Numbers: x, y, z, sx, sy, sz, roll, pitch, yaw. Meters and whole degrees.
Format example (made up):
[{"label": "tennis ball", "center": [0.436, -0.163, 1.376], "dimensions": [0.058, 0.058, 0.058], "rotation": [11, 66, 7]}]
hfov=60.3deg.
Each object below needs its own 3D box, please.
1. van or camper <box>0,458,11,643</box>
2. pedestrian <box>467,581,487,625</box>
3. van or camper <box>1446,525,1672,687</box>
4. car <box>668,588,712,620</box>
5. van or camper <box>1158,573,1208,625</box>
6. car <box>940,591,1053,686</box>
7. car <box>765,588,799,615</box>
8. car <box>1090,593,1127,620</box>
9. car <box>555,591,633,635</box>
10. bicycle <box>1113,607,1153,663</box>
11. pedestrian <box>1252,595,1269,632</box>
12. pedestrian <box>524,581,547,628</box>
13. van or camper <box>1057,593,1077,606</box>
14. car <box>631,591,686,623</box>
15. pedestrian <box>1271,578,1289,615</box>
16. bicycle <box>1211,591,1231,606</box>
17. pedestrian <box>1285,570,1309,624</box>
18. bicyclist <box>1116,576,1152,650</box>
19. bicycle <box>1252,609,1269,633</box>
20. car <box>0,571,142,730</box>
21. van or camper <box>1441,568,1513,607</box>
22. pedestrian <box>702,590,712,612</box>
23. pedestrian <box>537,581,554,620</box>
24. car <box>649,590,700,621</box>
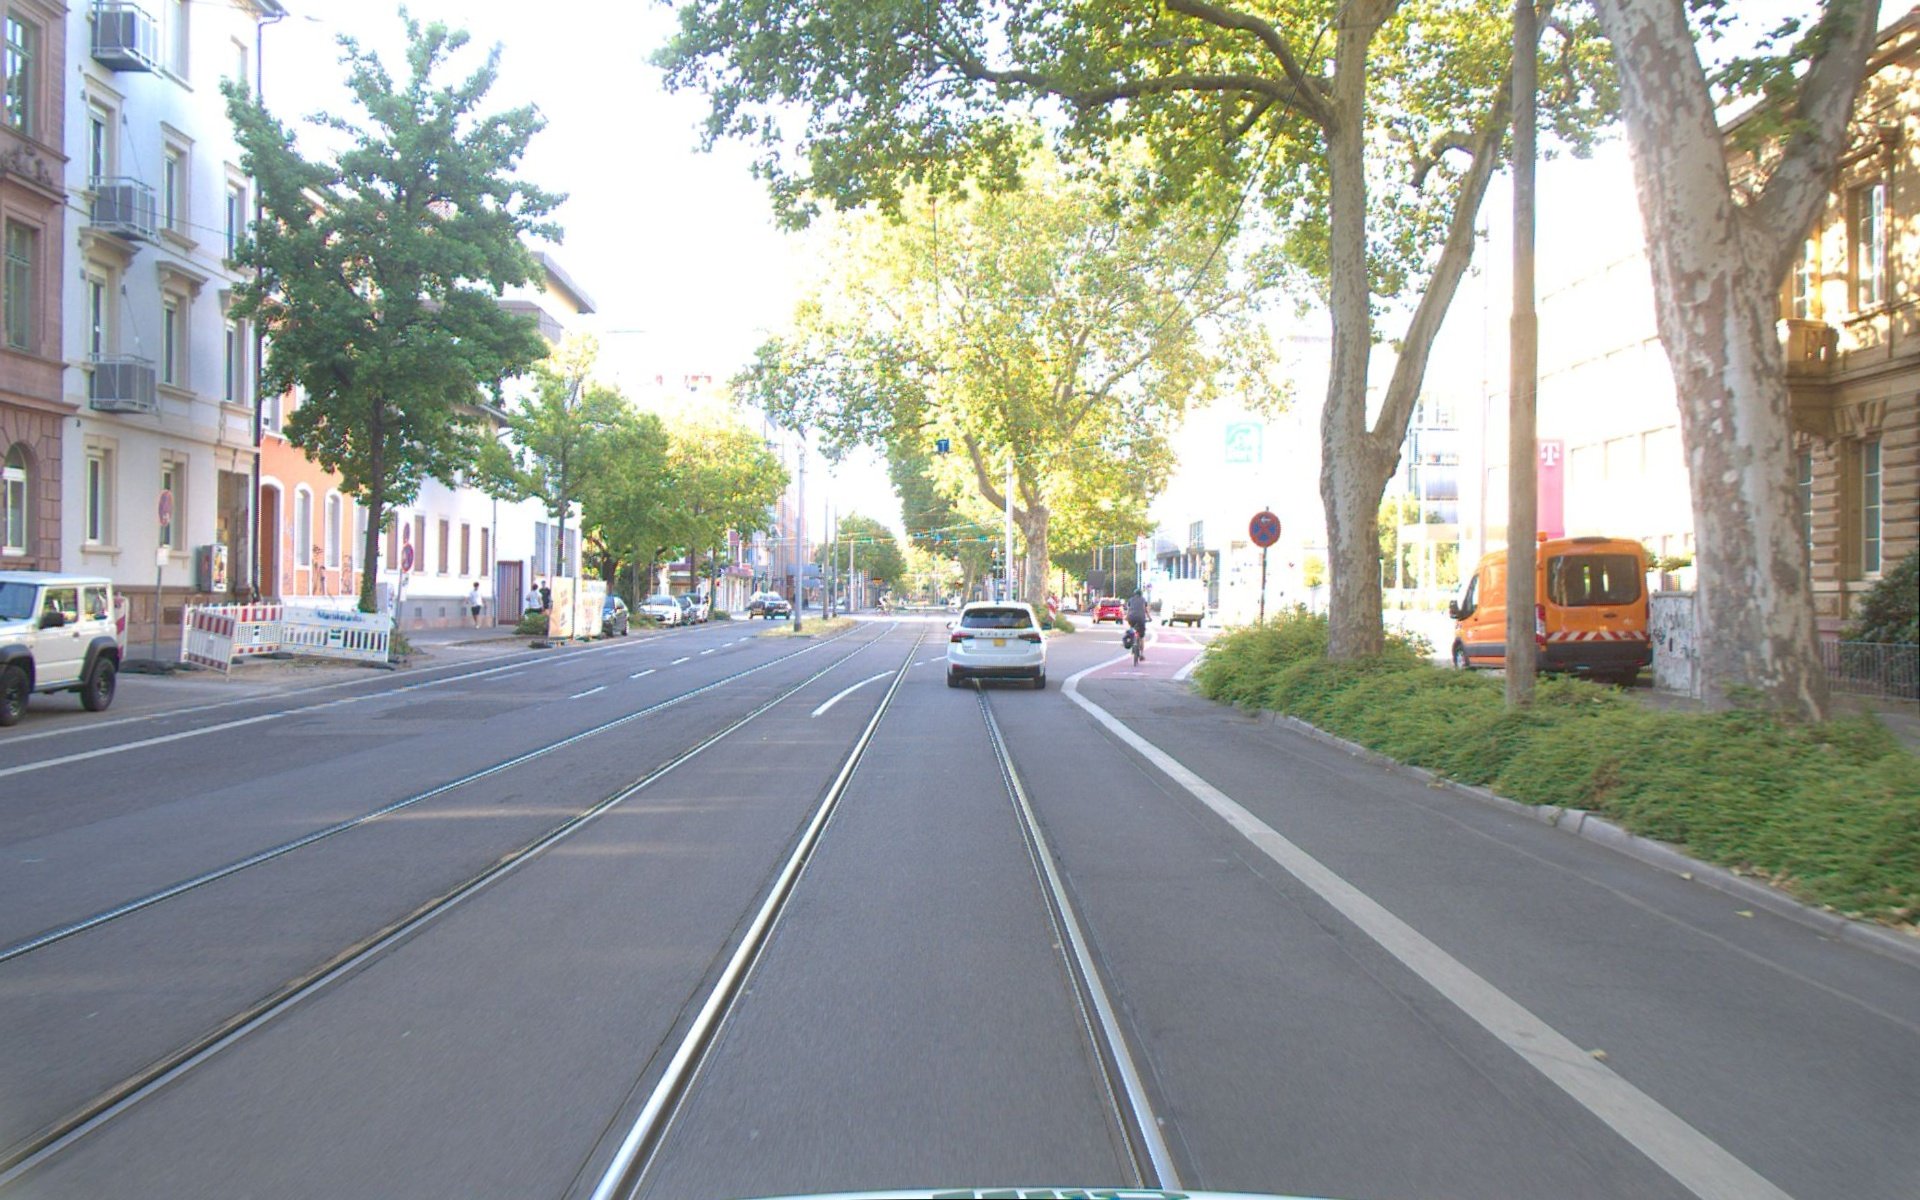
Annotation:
[{"label": "van or camper", "center": [-11.322, -0.051, 13.893], "dimensions": [2.370, 2.998, 7.250], "rotation": [4, 0, 0]}, {"label": "pedestrian", "center": [-17.370, 0.110, 59.482], "dimensions": [0.582, 1.598, 0.639], "rotation": [0, 0, -3]}, {"label": "van or camper", "center": [10.480, 0.082, 29.482], "dimensions": [1.994, 2.604, 5.773], "rotation": [0, 0, 1]}, {"label": "car", "center": [-14.694, 0.217, 90.227], "dimensions": [1.954, 1.719, 4.175], "rotation": [0, 0, -3]}, {"label": "van or camper", "center": [12.818, -0.050, 95.404], "dimensions": [2.222, 2.781, 6.349], "rotation": [3, 0, 3]}, {"label": "car", "center": [0.707, 0.623, 29.189], "dimensions": [1.764, 1.527, 3.983], "rotation": [1, 0, 4]}, {"label": "car", "center": [-11.497, 0.097, 107.102], "dimensions": [1.954, 1.719, 4.307], "rotation": [0, 0, -3]}, {"label": "car", "center": [8.766, 0.375, 97.790], "dimensions": [1.802, 1.515, 3.716], "rotation": [0, 0, -1]}, {"label": "car", "center": [-13.286, 0.433, 60.240], "dimensions": [1.953, 1.540, 4.723], "rotation": [0, 0, -2]}, {"label": "bicycle", "center": [4.108, 0.802, 39.138], "dimensions": [0.728, 1.245, 2.158], "rotation": [2, 1, 10]}, {"label": "pedestrian", "center": [13.648, 0.602, 75.163], "dimensions": [0.655, 1.647, 1.103], "rotation": [-2, 0, 9]}, {"label": "pedestrian", "center": [-15.206, 0.169, 59.286], "dimensions": [0.622, 1.649, 0.731], "rotation": [1, 0, -2]}, {"label": "van or camper", "center": [14.406, -0.062, 223.200], "dimensions": [2.103, 1.781, 4.428], "rotation": [-1, 0, -4]}, {"label": "car", "center": [-14.083, 0.307, 77.435], "dimensions": [1.954, 1.496, 4.403], "rotation": [0, 0, -3]}, {"label": "pedestrian", "center": [15.577, -0.177, 80.580], "dimensions": [0.769, 1.779, 0.772], "rotation": [0, 0, 4]}, {"label": "bicycle", "center": [26.049, -0.122, 165.097], "dimensions": [1.895, 1.468, 0.575], "rotation": [0, 0, -2]}, {"label": "pedestrian", "center": [10.763, -0.103, 52.811], "dimensions": [0.681, 1.713, 0.931], "rotation": [0, 0, 16]}, {"label": "bicyclist", "center": [4.099, 0.309, 38.991], "dimensions": [0.727, 1.698, 0.745], "rotation": [2, 0, 11]}, {"label": "bicycle", "center": [13.655, 0.961, 75.158], "dimensions": [0.660, 1.050, 1.902], "rotation": [-2, 0, 9]}, {"label": "car", "center": [-11.616, 0.547, 20.279], "dimensions": [1.598, 1.735, 3.368], "rotation": [3, 0, -4]}, {"label": "van or camper", "center": [26.287, -0.623, 84.282], "dimensions": [1.940, 1.942, 4.998], "rotation": [0, 0, -2]}, {"label": "pedestrian", "center": [-20.133, 0.082, 131.806], "dimensions": [0.694, 1.691, 1.032], "rotation": [-1, 0, -5]}, {"label": "pedestrian", "center": [-17.170, 0.019, 68.509], "dimensions": [0.582, 1.598, 0.639], "rotation": [0, 0, -3]}, {"label": "car", "center": [-14.347, 0.263, 83.349], "dimensions": [1.954, 1.502, 4.647], "rotation": [0, 0, -3]}]
